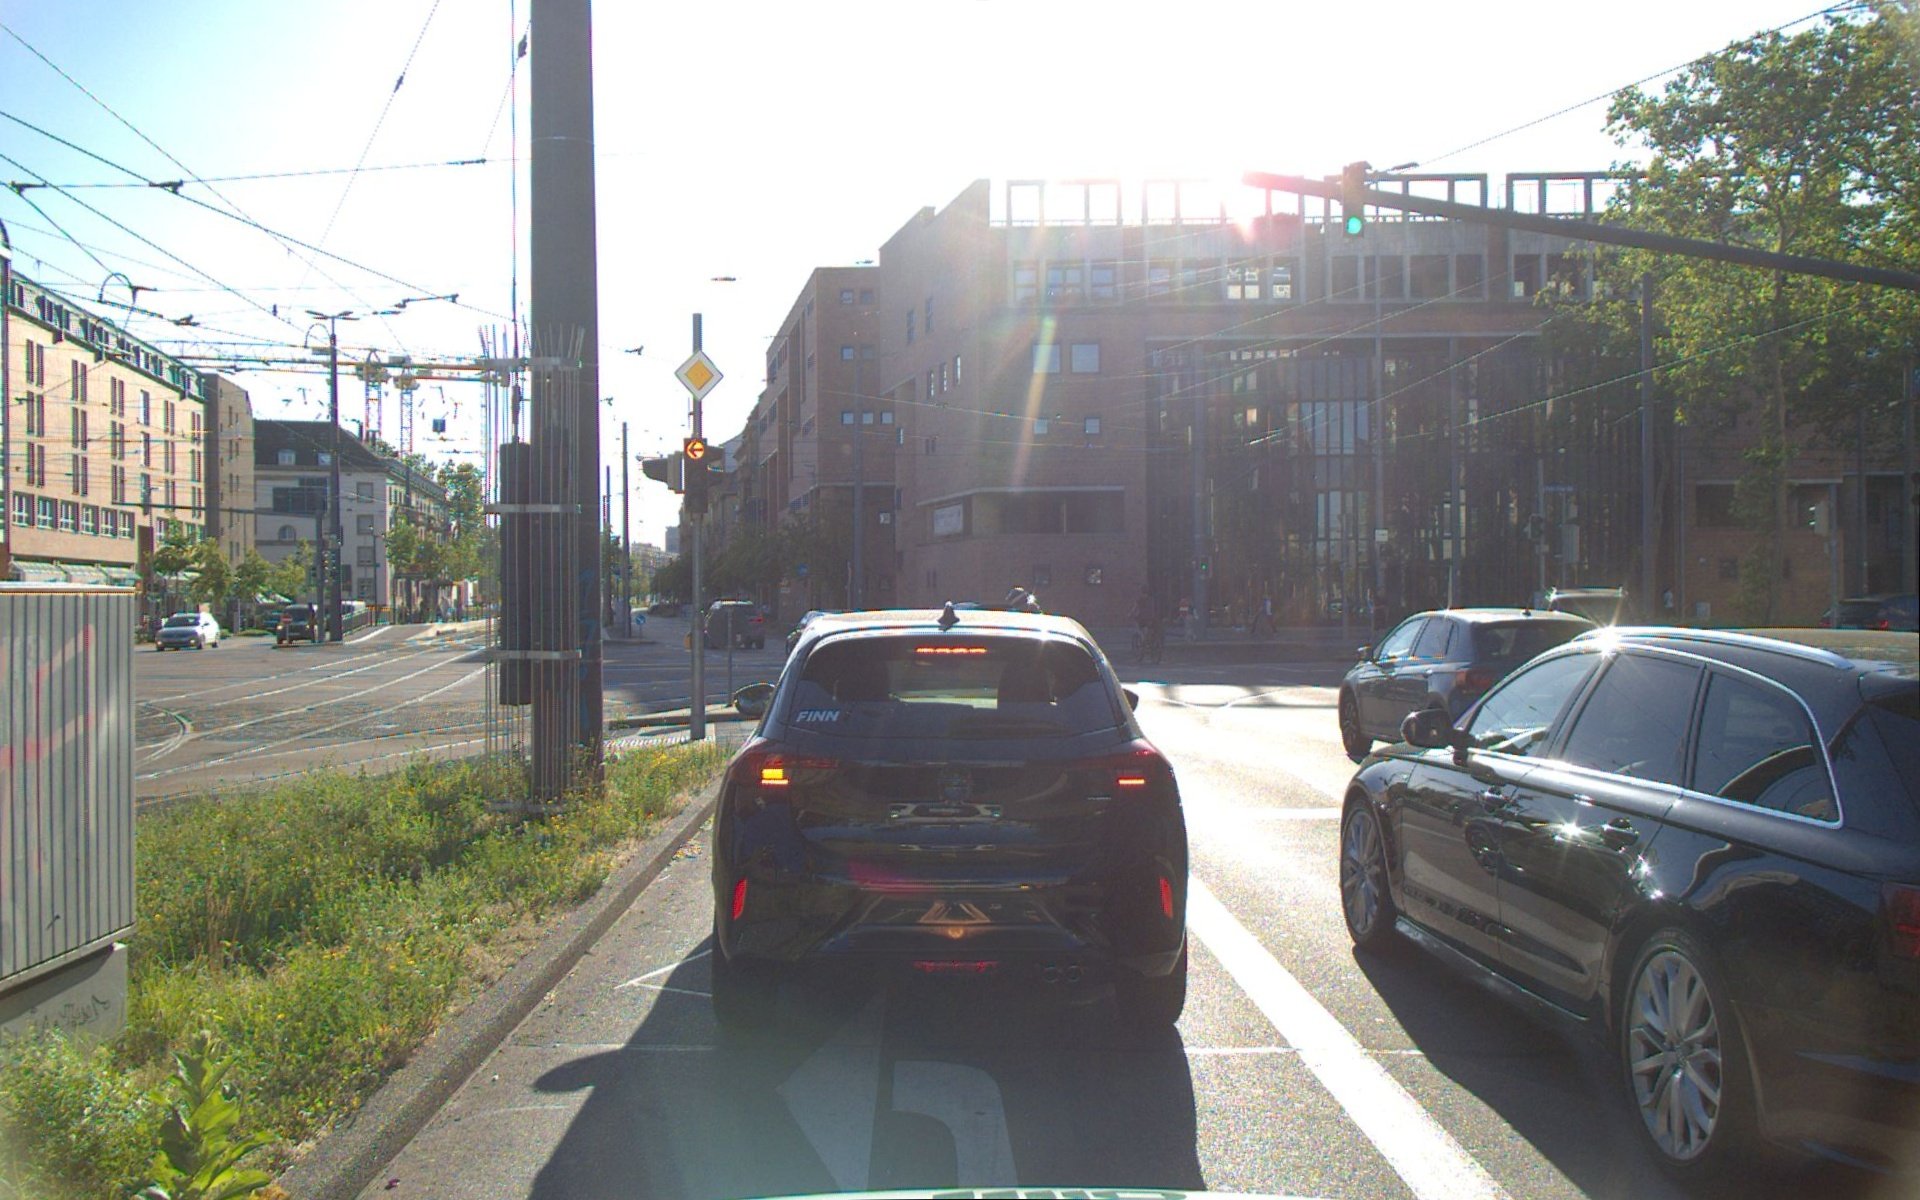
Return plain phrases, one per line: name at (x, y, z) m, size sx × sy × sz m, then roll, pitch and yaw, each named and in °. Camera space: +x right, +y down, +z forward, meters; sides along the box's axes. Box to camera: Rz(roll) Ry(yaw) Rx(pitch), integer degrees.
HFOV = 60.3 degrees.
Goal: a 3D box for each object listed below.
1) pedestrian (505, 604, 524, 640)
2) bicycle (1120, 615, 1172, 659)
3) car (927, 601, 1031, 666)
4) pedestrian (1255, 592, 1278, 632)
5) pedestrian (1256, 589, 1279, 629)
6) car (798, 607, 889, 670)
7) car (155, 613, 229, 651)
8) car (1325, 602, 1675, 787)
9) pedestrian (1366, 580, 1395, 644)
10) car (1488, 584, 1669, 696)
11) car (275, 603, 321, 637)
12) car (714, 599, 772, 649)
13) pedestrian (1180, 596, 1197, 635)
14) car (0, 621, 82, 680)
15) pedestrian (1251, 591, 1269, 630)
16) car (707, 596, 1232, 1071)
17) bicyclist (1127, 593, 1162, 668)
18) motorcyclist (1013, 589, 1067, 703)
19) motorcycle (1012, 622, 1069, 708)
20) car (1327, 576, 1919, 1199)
pedestrian at (-20.373, 1.003, 75.714) m, size 0.751 × 1.669 × 0.743 m, roll -1°, pitch 0°, yaw -10°
bicycle at (4.585, 0.900, 40.931) m, size 0.483 × 1.015 × 2.319 m, roll -1°, pitch 0°, yaw -14°
car at (0.412, 0.794, 40.641) m, size 1.775 × 1.483 × 3.989 m, roll 1°, pitch 0°, yaw -11°
pedestrian at (12.559, 0.487, 67.784) m, size 0.881 × 1.645 × 0.561 m, roll -1°, pitch 0°, yaw 8°
pedestrian at (12.755, 0.380, 68.620) m, size 0.881 × 1.645 × 0.561 m, roll -1°, pitch 0°, yaw 8°
car at (-2.793, 0.872, 39.009) m, size 1.706 × 1.373 × 3.990 m, roll 0°, pitch 0°, yaw -11°
car at (-32.169, 1.324, 69.366) m, size 1.542 × 1.474 × 3.996 m, roll -1°, pitch 0°, yaw -5°
car at (4.862, 0.779, 15.520) m, size 1.771 × 1.483 × 3.997 m, roll 1°, pitch 0°, yaw -4°
pedestrian at (11.851, 0.349, 46.573) m, size 0.692 × 1.789 × 0.560 m, roll -1°, pitch 0°, yaw 25°
car at (10.547, 0.630, 28.535) m, size 1.951 × 1.780 × 4.332 m, roll -1°, pitch 0°, yaw 7°
car at (-31.226, 0.927, 78.067) m, size 1.718 × 1.531 × 3.861 m, roll -1°, pitch 0°, yaw -18°
car at (-7.667, 0.808, 58.227) m, size 1.706 × 1.680 × 3.988 m, roll 0°, pitch 0°, yaw -12°
pedestrian at (8.730, 0.585, 63.195) m, size 0.519 × 1.455 × 0.598 m, roll -1°, pitch 0°, yaw -1°
car at (-28.275, 1.480, 49.826) m, size 1.958 × 1.624 × 4.724 m, roll -1°, pitch 0°, yaw -12°
pedestrian at (12.683, 0.441, 69.883) m, size 0.722 × 1.645 × 0.561 m, roll -1°, pitch 0°, yaw 8°
car at (0.046, 0.721, 7.115) m, size 1.615 × 1.458 × 4.000 m, roll 0°, pitch 0°, yaw 0°
bicyclist at (4.565, 0.754, 40.907) m, size 0.567 × 1.822 × 0.860 m, roll -1°, pitch 0°, yaw -15°
motorcyclist at (1.118, 0.636, 23.199) m, size 0.729 × 1.557 × 1.021 m, roll -1°, pitch 0°, yaw 3°
motorcycle at (1.136, 0.896, 23.472) m, size 0.759 × 1.135 × 1.970 m, roll -1°, pitch 0°, yaw 2°
car at (2.691, 0.750, 5.476) m, size 1.775 × 1.518 × 4.494 m, roll 2°, pitch 0°, yaw -2°
